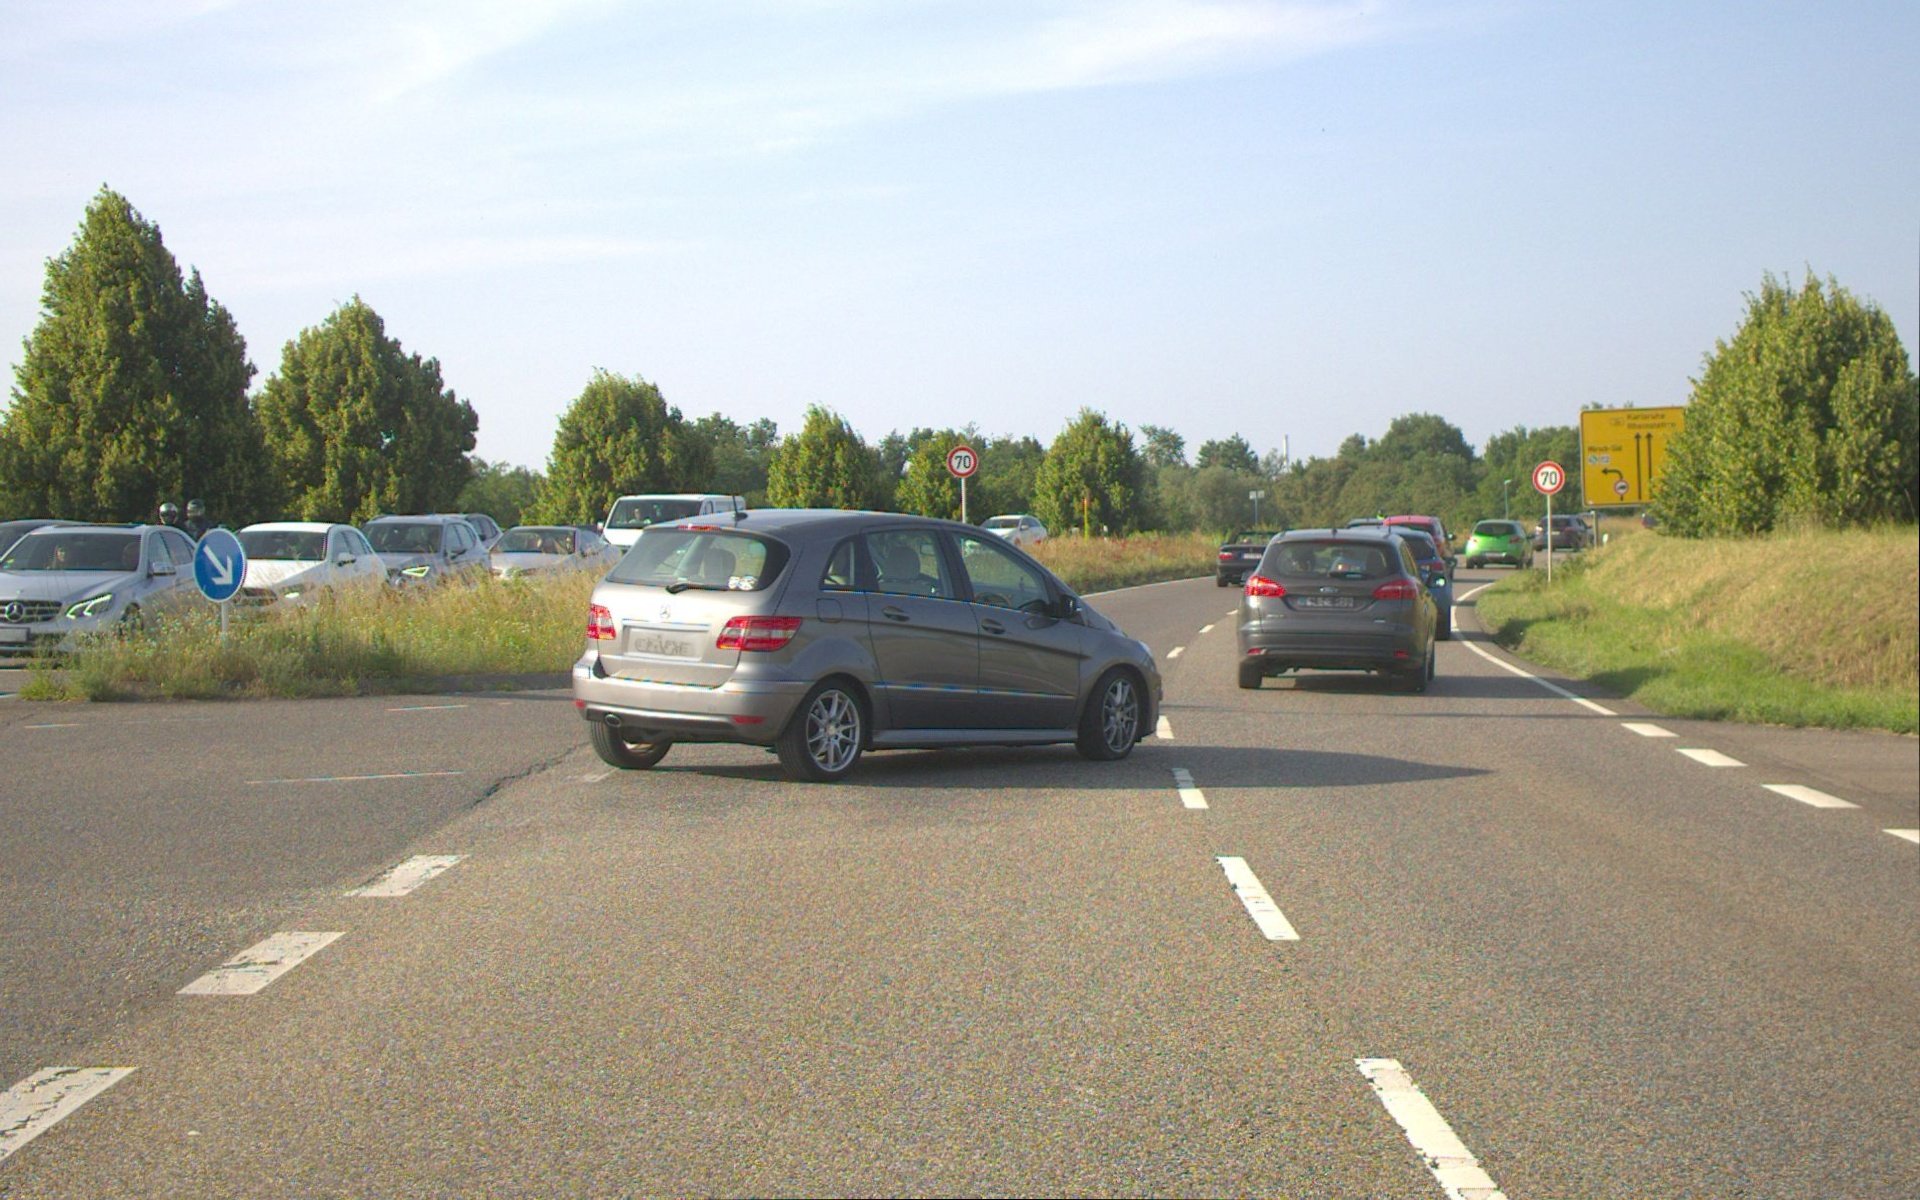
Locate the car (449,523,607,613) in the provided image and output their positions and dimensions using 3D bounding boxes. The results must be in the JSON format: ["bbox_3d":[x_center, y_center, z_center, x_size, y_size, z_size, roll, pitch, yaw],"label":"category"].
[{"bbox_3d":[-6.971,-0.537,55.807,1.786,1.381,4.051,-1,1,4],"label":"car"}]

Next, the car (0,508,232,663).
[{"bbox_3d":[-9.083,-0.183,35.655,1.786,1.483,4.651,-1,1,4],"label":"car"}]

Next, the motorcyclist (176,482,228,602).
[{"bbox_3d":[-11.563,-0.880,52.456,0.662,1.810,0.605,-1,1,-3],"label":"motorcyclist"}]

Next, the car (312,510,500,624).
[{"bbox_3d":[-7.940,-0.496,49.608,1.786,1.563,4.051,-1,1,4],"label":"car"}]

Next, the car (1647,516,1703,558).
[{"bbox_3d":[31.230,-2.736,150.321,1.909,1.728,4.277,0,0,5],"label":"car"}]

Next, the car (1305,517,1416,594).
[{"bbox_3d":[7.537,-0.821,65.012,1.915,1.411,3.795,0,0,4],"label":"car"}]

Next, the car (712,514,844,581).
[{"bbox_3d":[-3.912,-1.152,74.564,1.787,1.381,4.049,0,1,13],"label":"car"}]

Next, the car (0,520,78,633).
[{"bbox_3d":[-12.956,-0.313,44.510,1.786,1.428,4.051,-1,1,4],"label":"car"}]

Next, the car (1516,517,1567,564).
[{"bbox_3d":[22.868,-2.324,135.137,1.909,1.728,4.276,0,0,10],"label":"car"}]

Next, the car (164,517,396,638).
[{"bbox_3d":[-8.494,-0.312,43.302,1.786,1.428,4.309,-1,1,4],"label":"car"}]

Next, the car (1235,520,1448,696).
[{"bbox_3d":[3.718,0.031,32.924,1.810,1.560,4.529,0,1,9],"label":"car"}]

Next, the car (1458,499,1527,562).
[{"bbox_3d":[15.881,-2.062,102.661,1.909,1.794,4.276,0,0,8],"label":"car"}]

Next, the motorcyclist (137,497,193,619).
[{"bbox_3d":[-11.385,-0.604,49.237,0.662,1.741,0.605,-1,1,-3],"label":"motorcyclist"}]

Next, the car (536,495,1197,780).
[{"bbox_3d":[-0.484,0.216,21.483,1.788,1.600,4.186,0,0,40],"label":"car"}]

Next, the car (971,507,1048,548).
[{"bbox_3d":[1.728,-2.497,118.630,1.787,1.381,4.049,0,1,13],"label":"car"}]

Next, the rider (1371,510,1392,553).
[{"bbox_3d":[19.858,-3.243,161.958,0.868,2.007,0.771,0,1,15],"label":"rider"}]

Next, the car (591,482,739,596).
[{"bbox_3d":[-5.542,-1.155,65.143,1.926,2.071,4.242,-1,1,7],"label":"car"}]

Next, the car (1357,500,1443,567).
[{"bbox_3d":[10.877,-1.609,84.835,1.896,1.559,4.276,0,0,10],"label":"car"}]

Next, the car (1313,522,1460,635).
[{"bbox_3d":[5.928,-0.333,47.474,1.773,1.487,3.983,0,1,11],"label":"car"}]

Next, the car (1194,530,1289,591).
[{"bbox_3d":[6.363,-0.864,77.361,1.909,1.318,4.277,0,0,7],"label":"car"}]
